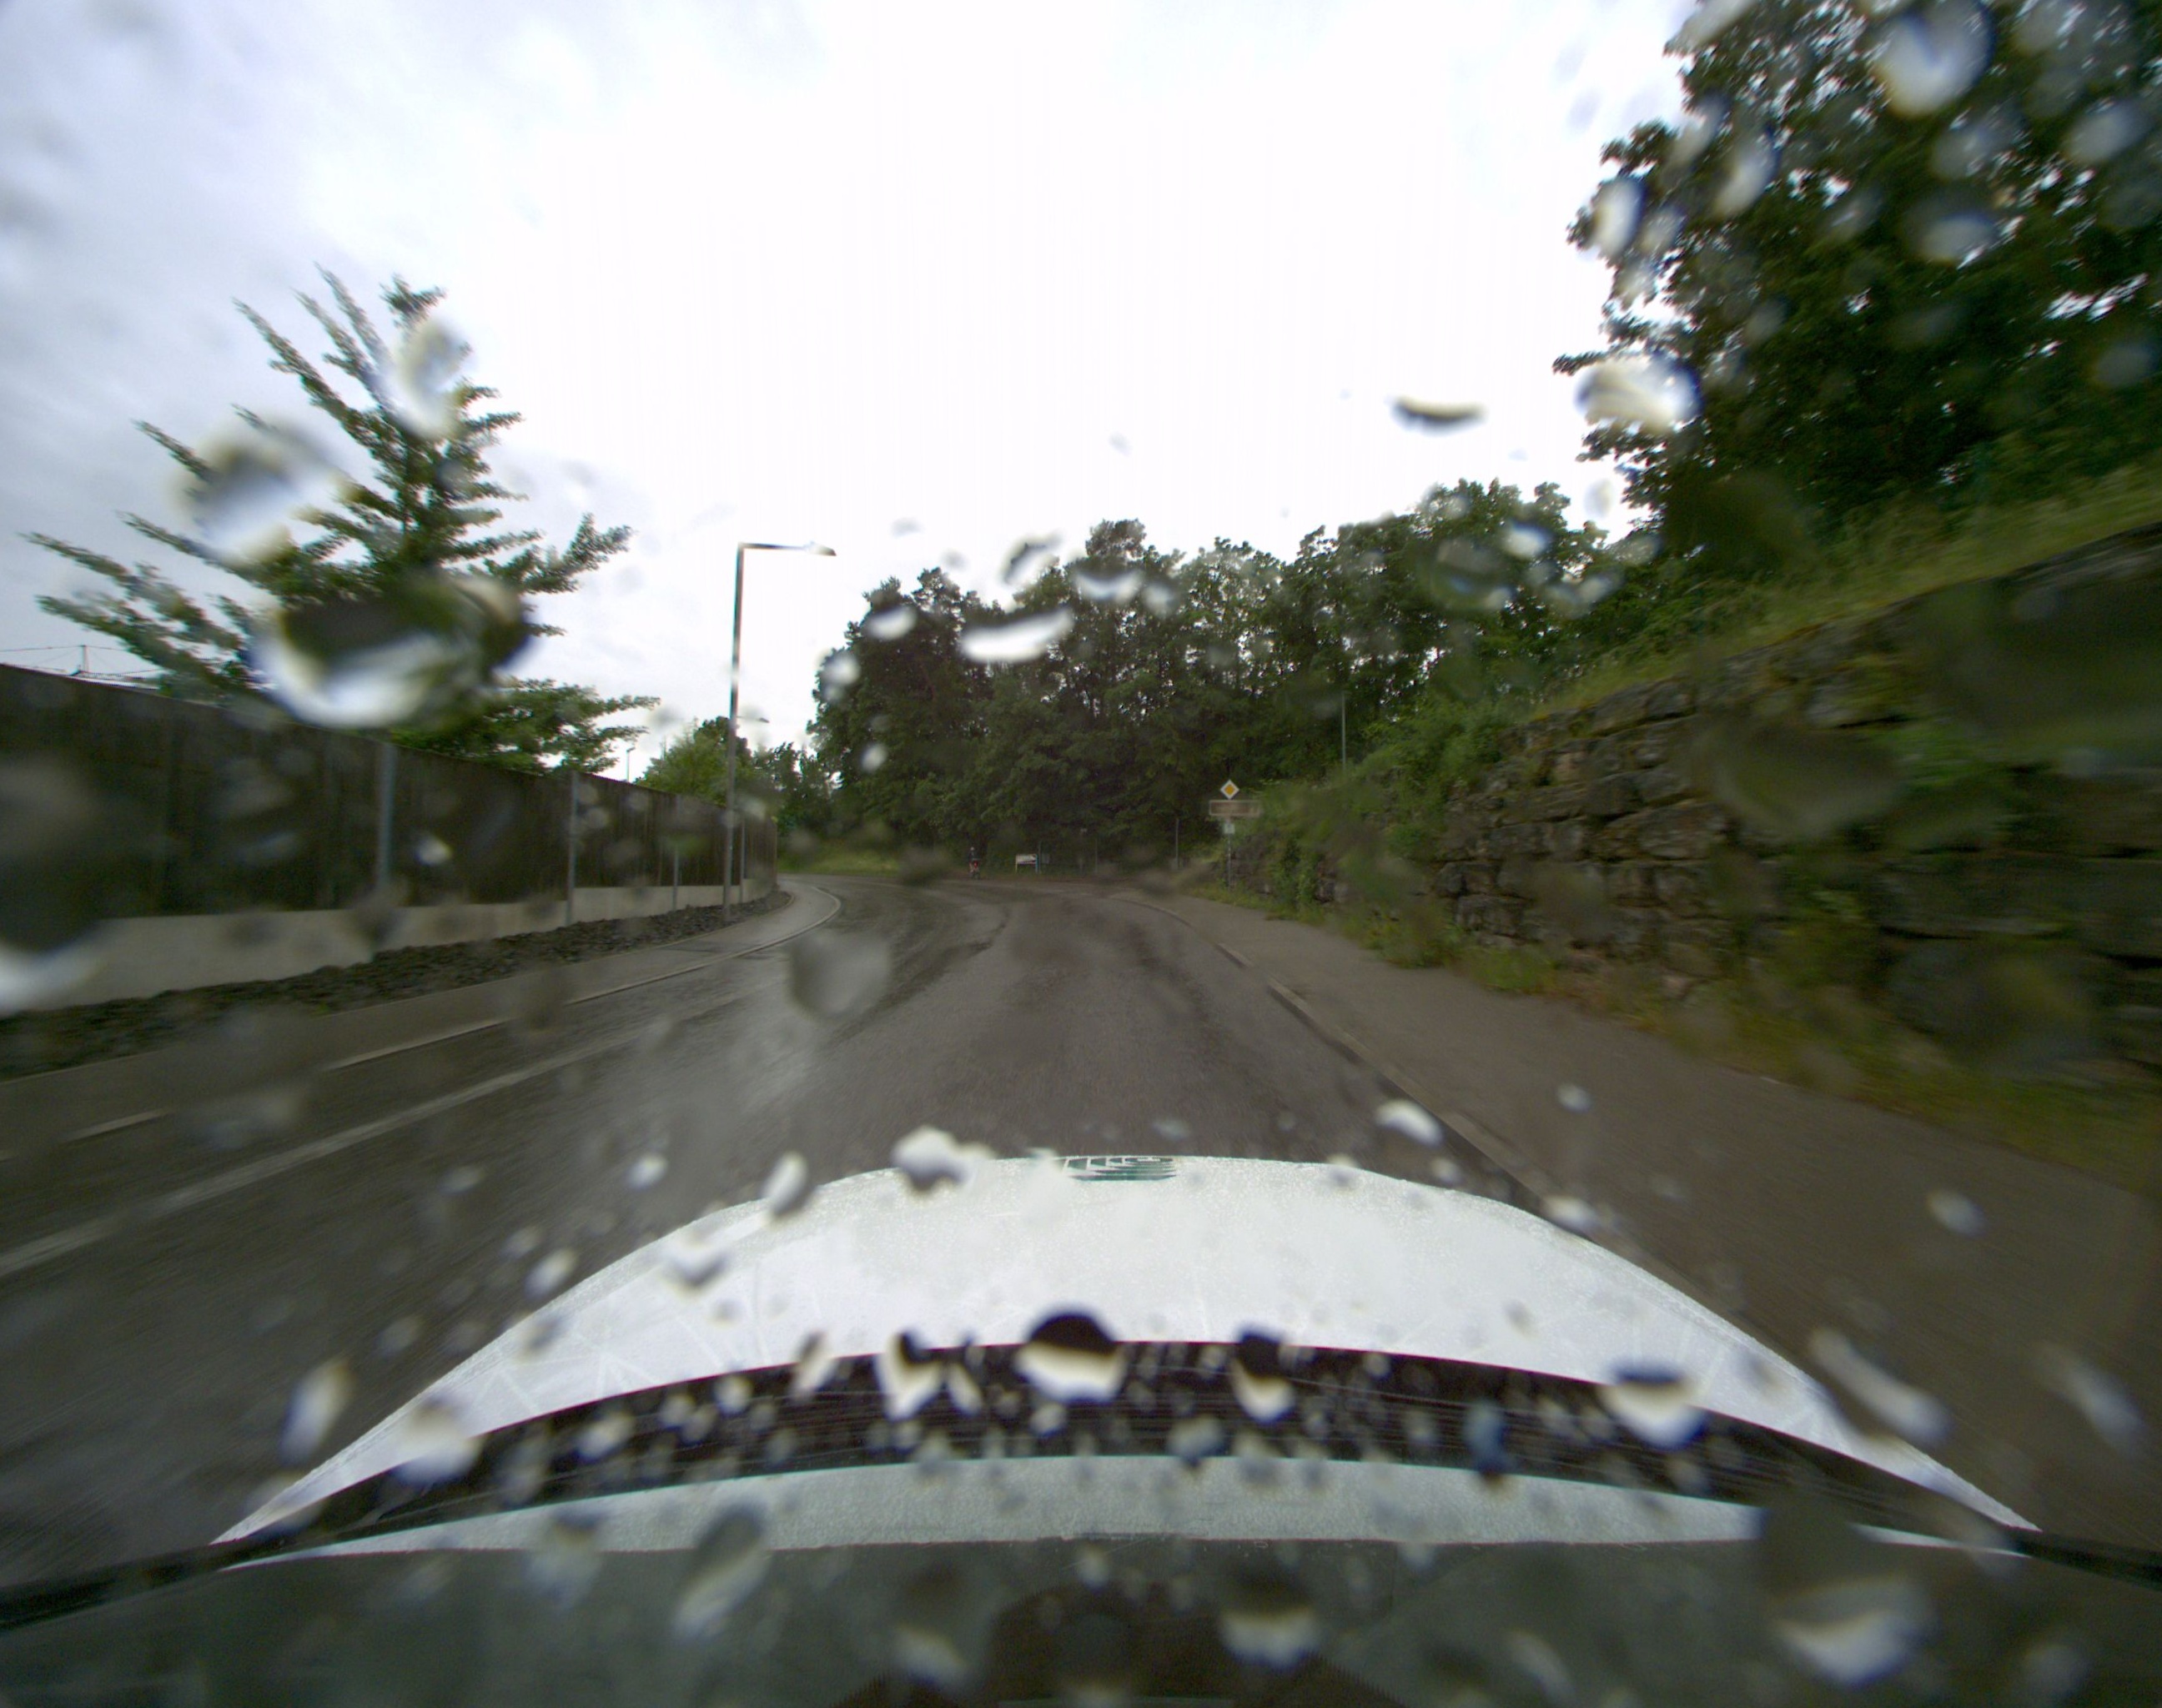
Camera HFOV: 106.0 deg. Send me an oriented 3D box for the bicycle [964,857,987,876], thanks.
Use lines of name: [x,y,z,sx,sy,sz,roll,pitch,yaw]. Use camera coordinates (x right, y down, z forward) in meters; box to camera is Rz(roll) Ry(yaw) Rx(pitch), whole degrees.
bicycle: [-5.969,0.698,46.095,0.531,1.085,1.602,0,0,-39]

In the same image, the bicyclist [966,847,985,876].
bicyclist: [-5.986,0.433,46.077,0.726,1.615,0.895,0,0,-36]
